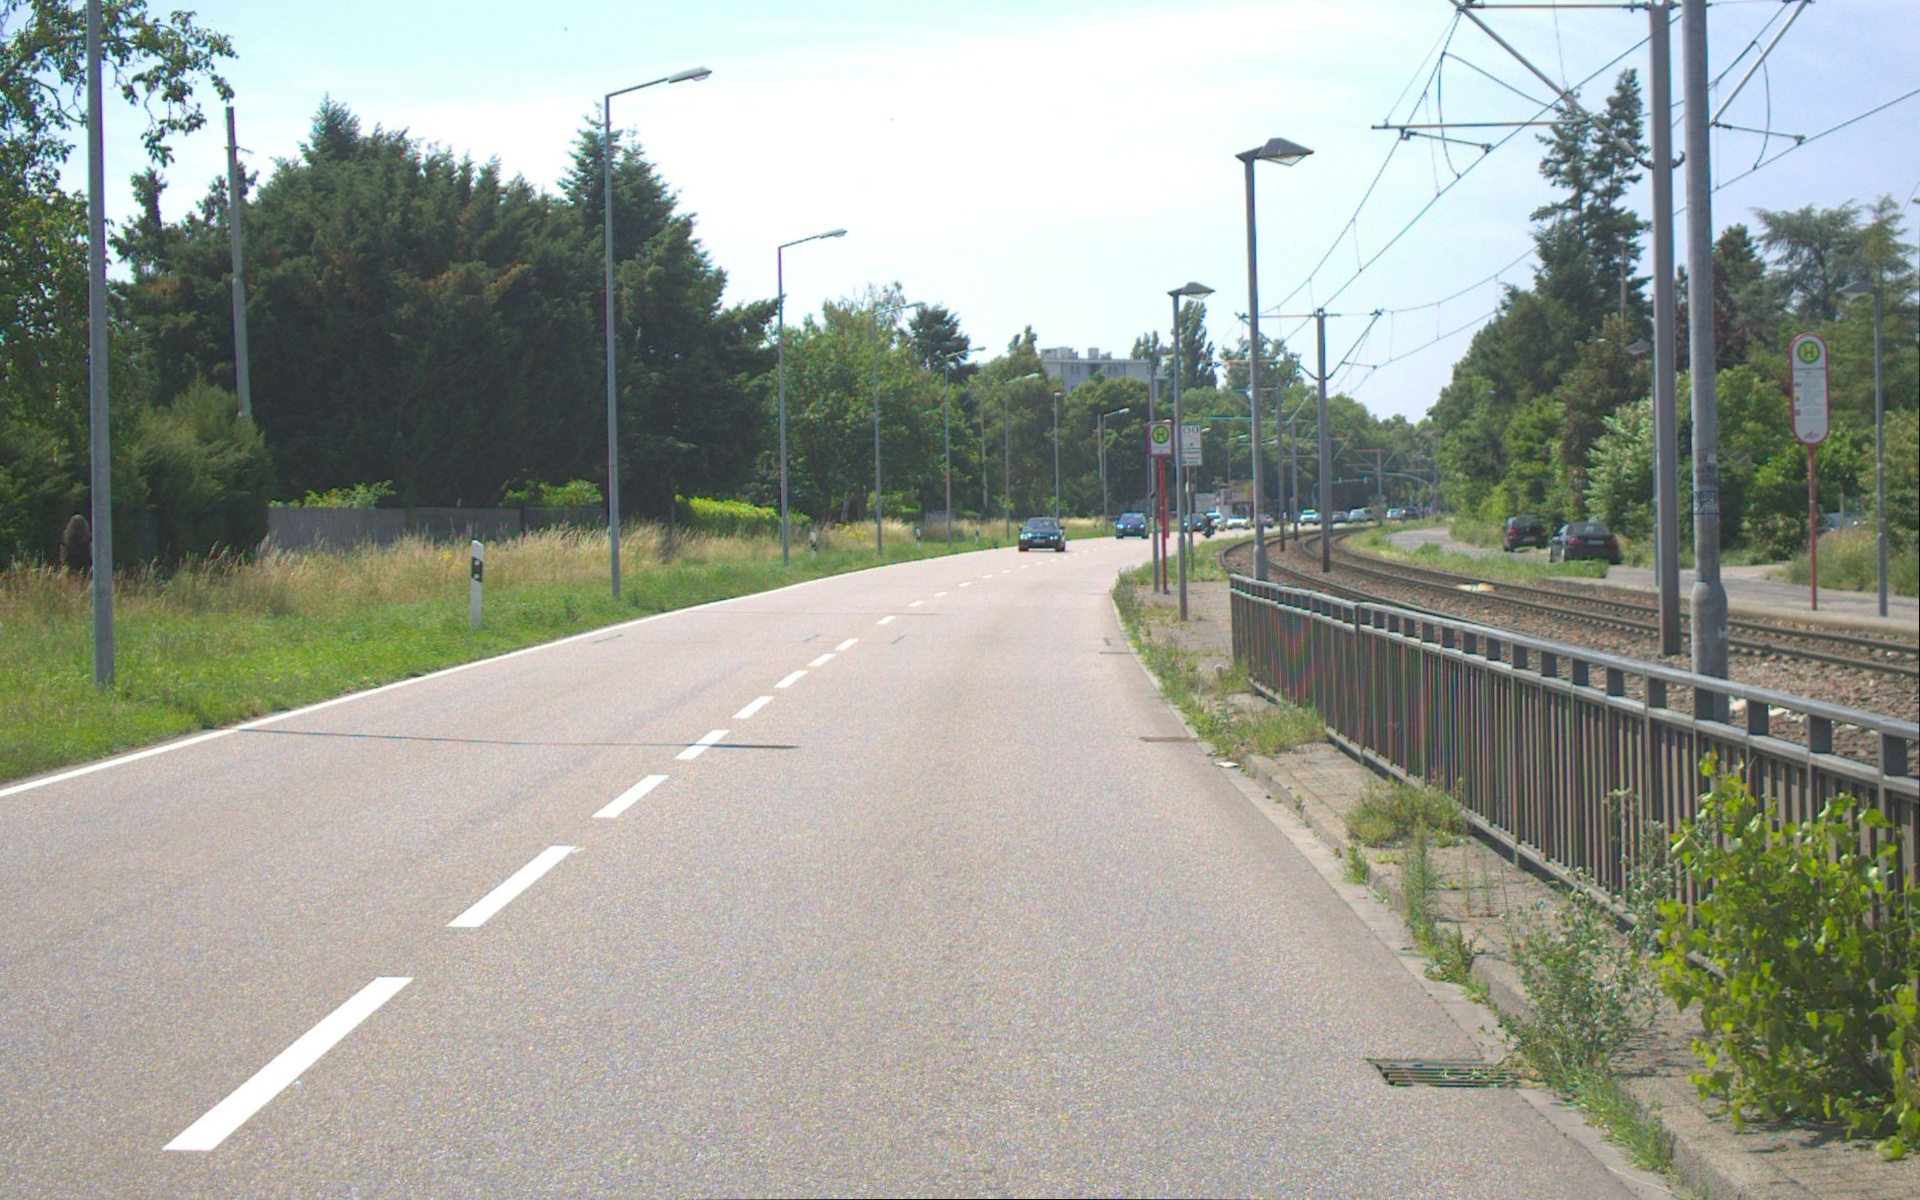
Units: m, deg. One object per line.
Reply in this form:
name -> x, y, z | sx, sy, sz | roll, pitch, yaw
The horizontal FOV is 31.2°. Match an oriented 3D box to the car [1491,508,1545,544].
car -> 23.175, -3.089, 142.919 | 1.914, 1.465, 4.000 | 0, 1, 5

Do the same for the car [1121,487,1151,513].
car -> 11.066, -6.264, 215.863 | 1.747, 1.626, 4.029 | 0, 1, 4

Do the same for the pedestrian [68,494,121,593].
pedestrian -> -12.934, -0.844, 51.374 | 0.609, 1.472, 0.633 | 0, 1, 3

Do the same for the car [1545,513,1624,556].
car -> 19.922, -2.114, 109.828 | 1.861, 1.325, 4.515 | 0, 1, 2

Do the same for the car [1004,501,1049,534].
car -> 2.878, -3.536, 147.776 | 1.706, 1.399, 4.707 | 0, 1, 3
